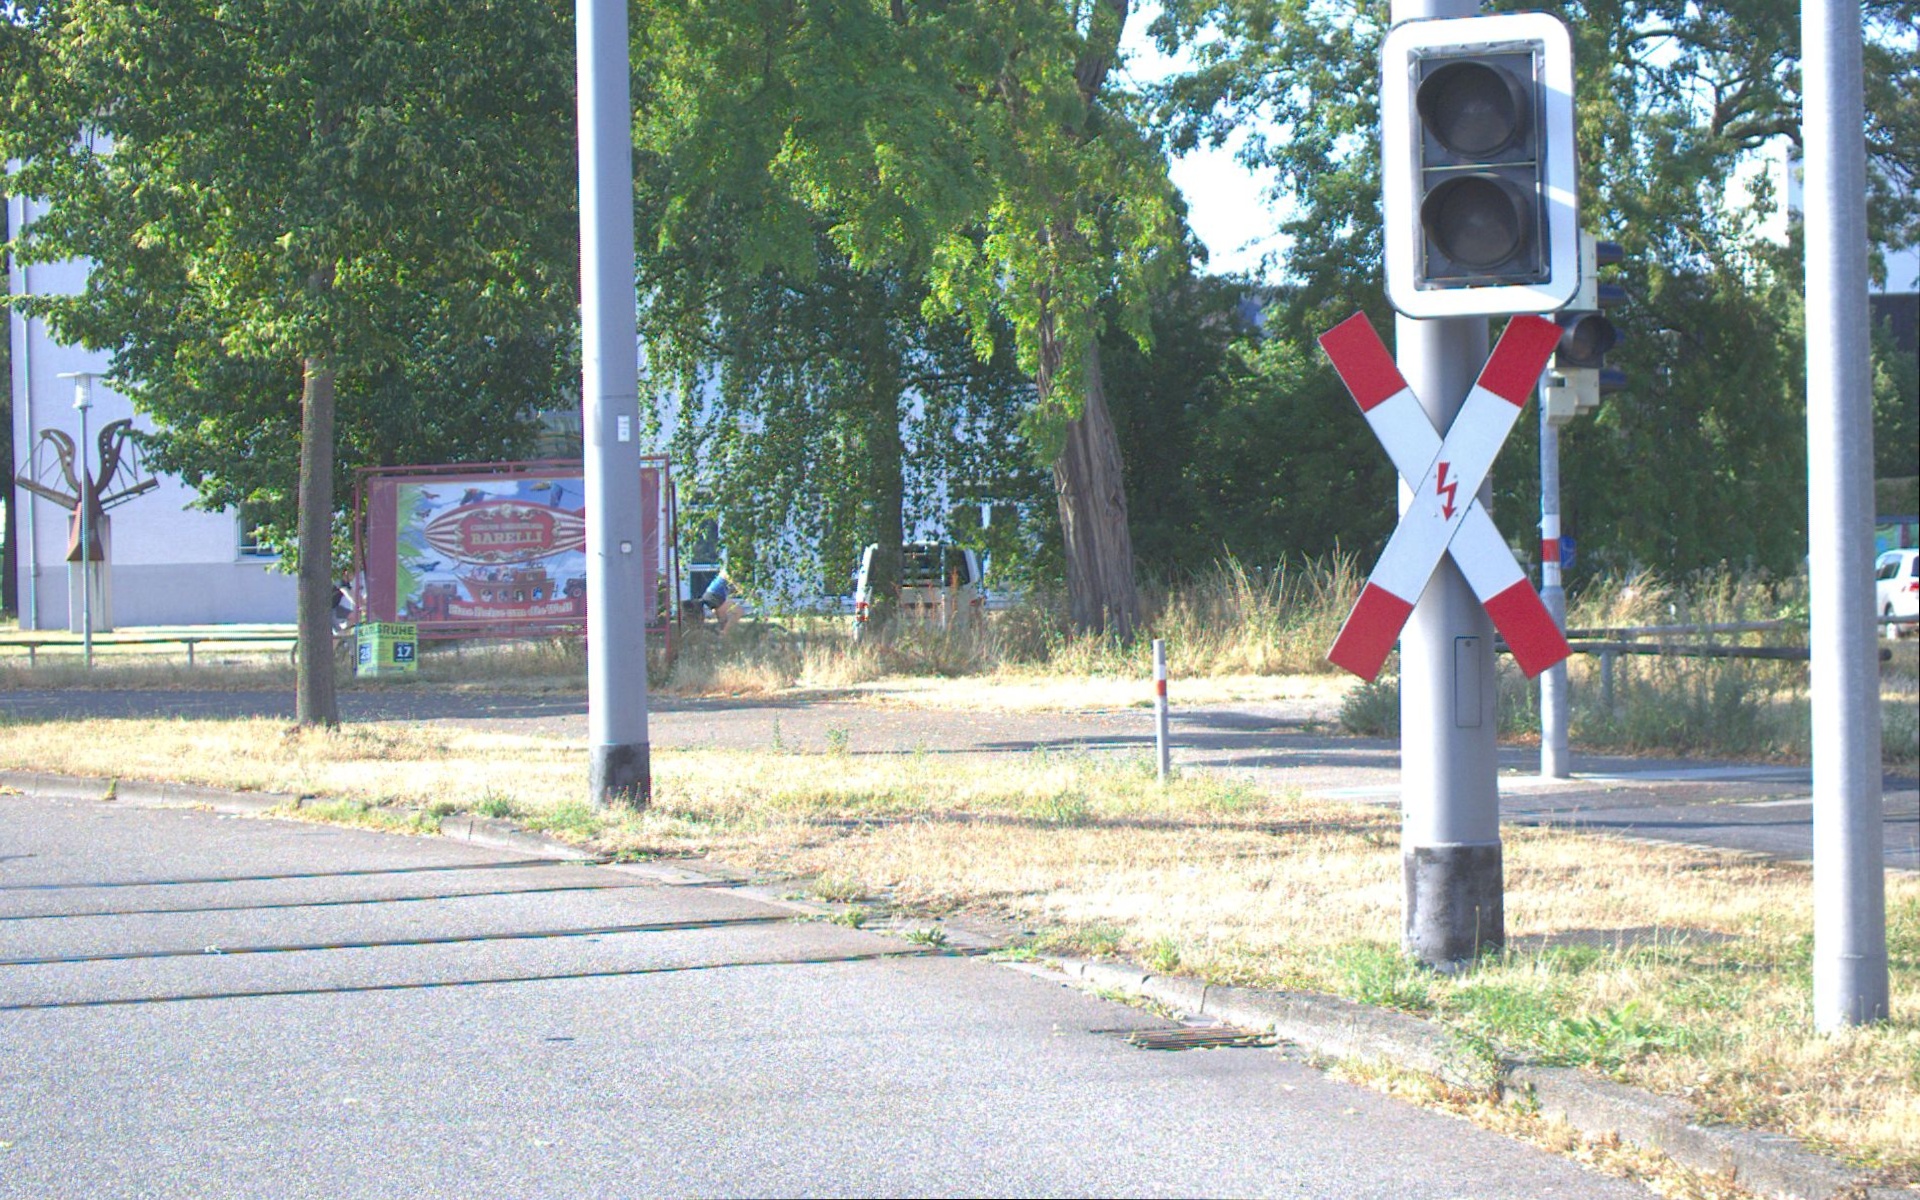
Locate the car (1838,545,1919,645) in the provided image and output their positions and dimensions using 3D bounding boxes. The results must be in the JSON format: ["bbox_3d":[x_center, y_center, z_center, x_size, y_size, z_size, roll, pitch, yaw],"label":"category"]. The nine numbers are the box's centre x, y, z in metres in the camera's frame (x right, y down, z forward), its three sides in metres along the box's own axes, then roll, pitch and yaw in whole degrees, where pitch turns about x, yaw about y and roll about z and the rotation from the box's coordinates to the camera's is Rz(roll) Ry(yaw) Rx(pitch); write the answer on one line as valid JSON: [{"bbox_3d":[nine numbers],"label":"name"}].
[{"bbox_3d":[14.069,-0.107,50.381,1.601,1.397,3.968,-1,0,4],"label":"car"}]

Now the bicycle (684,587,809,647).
[{"bbox_3d":[-3.439,0.274,55.347,1.987,0.915,0.430,-1,1,-6],"label":"bicycle"}]

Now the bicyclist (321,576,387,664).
[{"bbox_3d":[-9.820,0.316,55.685,0.897,1.391,0.526,-2,1,-30],"label":"bicyclist"}]

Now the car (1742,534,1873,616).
[{"bbox_3d":[15.281,-0.460,62.129,1.601,1.397,3.968,-1,0,4],"label":"car"}]

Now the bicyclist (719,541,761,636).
[{"bbox_3d":[-3.547,-0.193,55.326,0.622,1.506,0.419,-1,1,-6],"label":"bicyclist"}]

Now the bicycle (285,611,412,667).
[{"bbox_3d":[-9.891,0.626,55.657,1.987,0.822,0.430,-2,1,-30],"label":"bicycle"}]

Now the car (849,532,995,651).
[{"bbox_3d":[-0.510,-0.133,49.751,1.771,1.612,3.968,-1,0,4],"label":"car"}]
